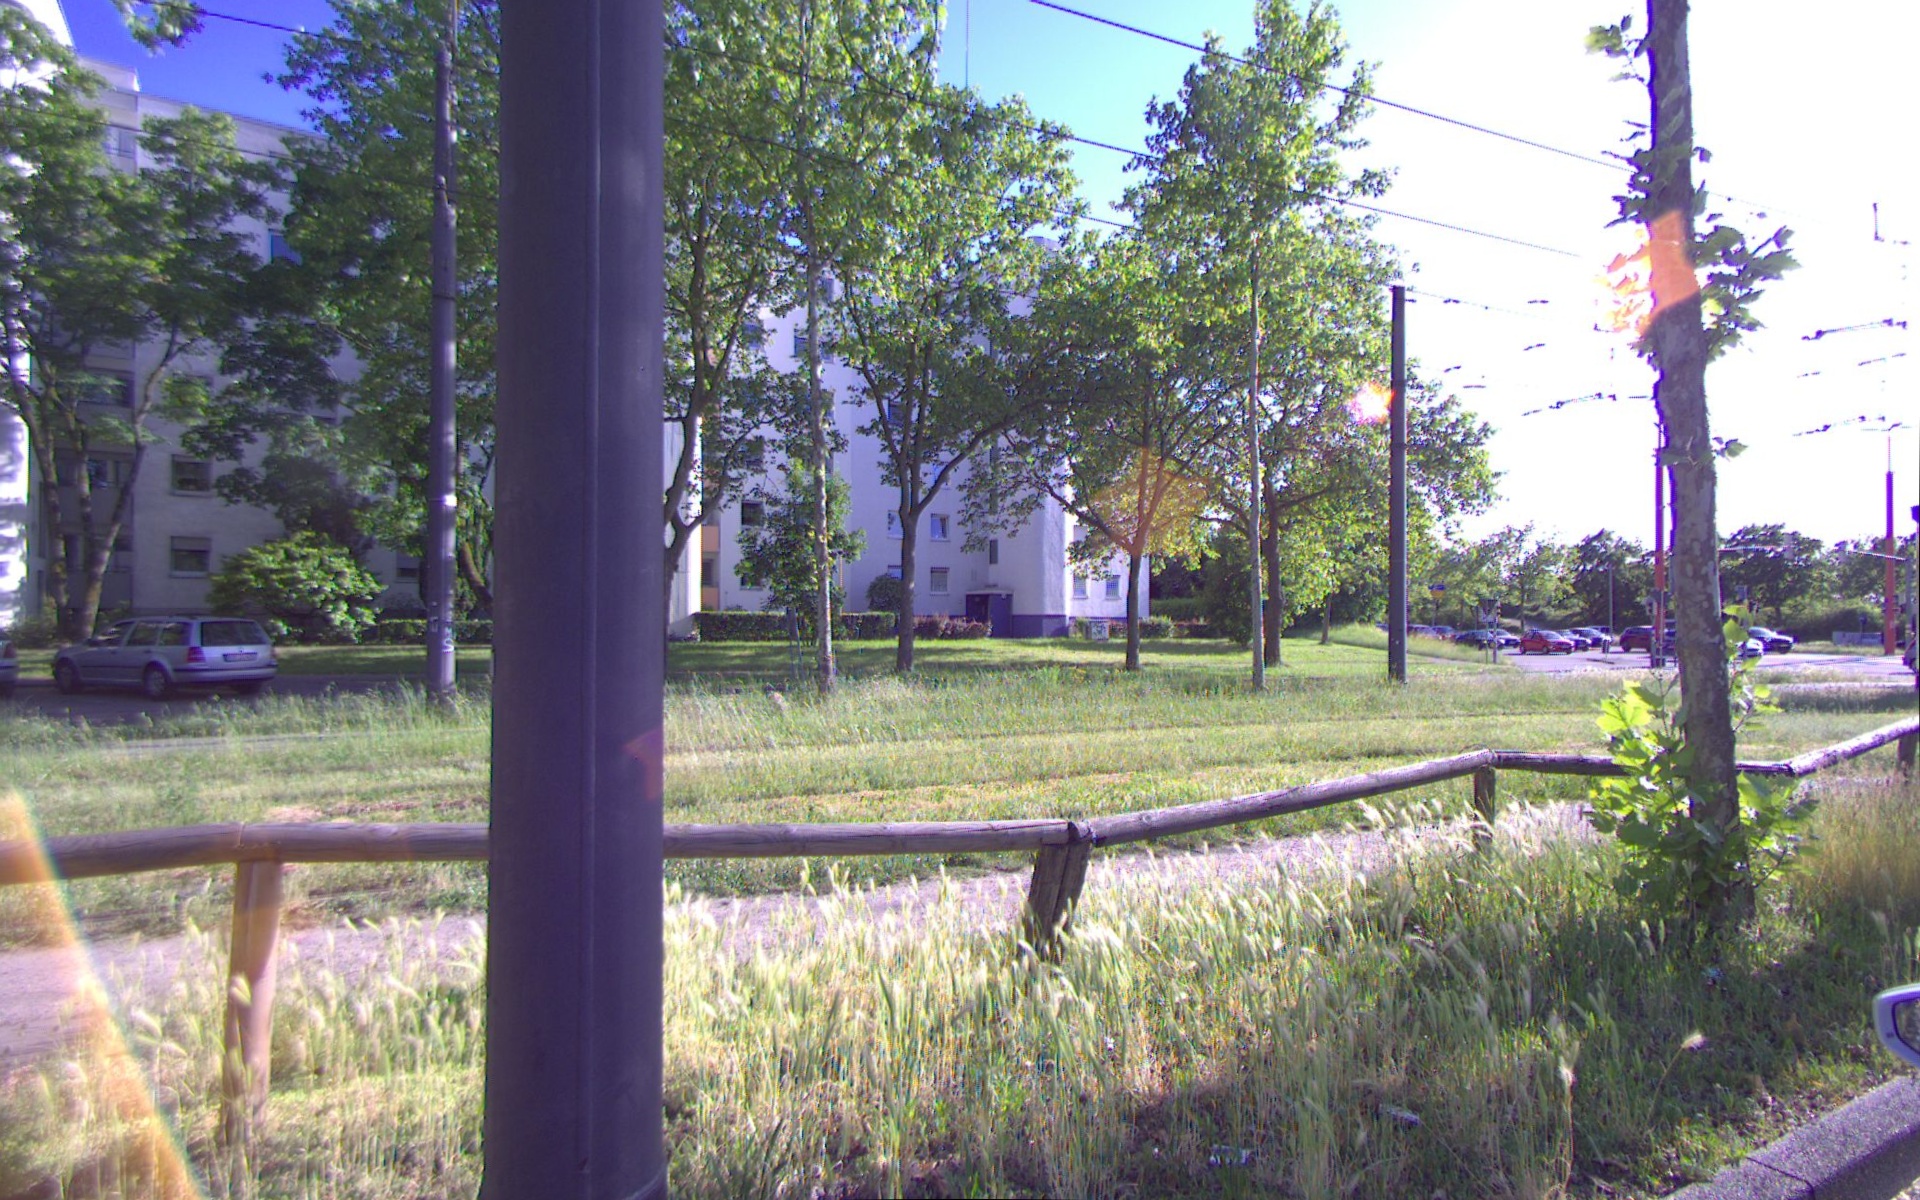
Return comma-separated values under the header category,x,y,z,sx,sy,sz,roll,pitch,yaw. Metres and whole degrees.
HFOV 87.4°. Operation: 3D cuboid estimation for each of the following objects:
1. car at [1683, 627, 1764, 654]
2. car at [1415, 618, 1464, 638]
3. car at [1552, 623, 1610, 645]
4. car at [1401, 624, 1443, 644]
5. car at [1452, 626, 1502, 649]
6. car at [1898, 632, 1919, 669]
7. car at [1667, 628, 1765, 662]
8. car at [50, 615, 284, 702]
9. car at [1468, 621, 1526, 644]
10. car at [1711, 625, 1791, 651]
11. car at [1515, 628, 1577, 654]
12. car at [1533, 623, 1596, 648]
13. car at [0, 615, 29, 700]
category,x,y,z,sx,sy,sz,roll,pitch,yaw
car,45.579,2.391,60.058,1.513,1.434,4.154,1,-1,-3
car,41.779,2.437,87.624,1.723,1.669,4.640,1,-1,-5
car,45.307,2.457,73.326,1.513,1.434,4.154,1,-1,-3
car,38.655,2.798,84.208,1.624,1.540,4.200,1,-1,1
car,38.639,2.796,75.213,1.624,1.540,4.200,1,-1,1
car,39.262,2.041,39.236,1.624,1.460,3.841,1,-1,-2
car,39.136,2.298,52.122,1.624,1.540,4.638,1,-1,1
car,-14.531,1.013,18.426,3.830,1.421,1.581,1,0,20
car,42.235,2.529,79.117,1.723,1.669,4.640,1,-1,-5
car,48.657,2.320,61.892,1.513,1.434,4.154,1,-1,-3
car,38.600,2.672,66.274,1.624,1.540,4.200,1,-1,1
car,42.430,2.464,70.621,1.721,1.669,4.644,1,-1,1
car,-17.981,0.950,17.152,3.567,1.421,1.581,1,0,20
